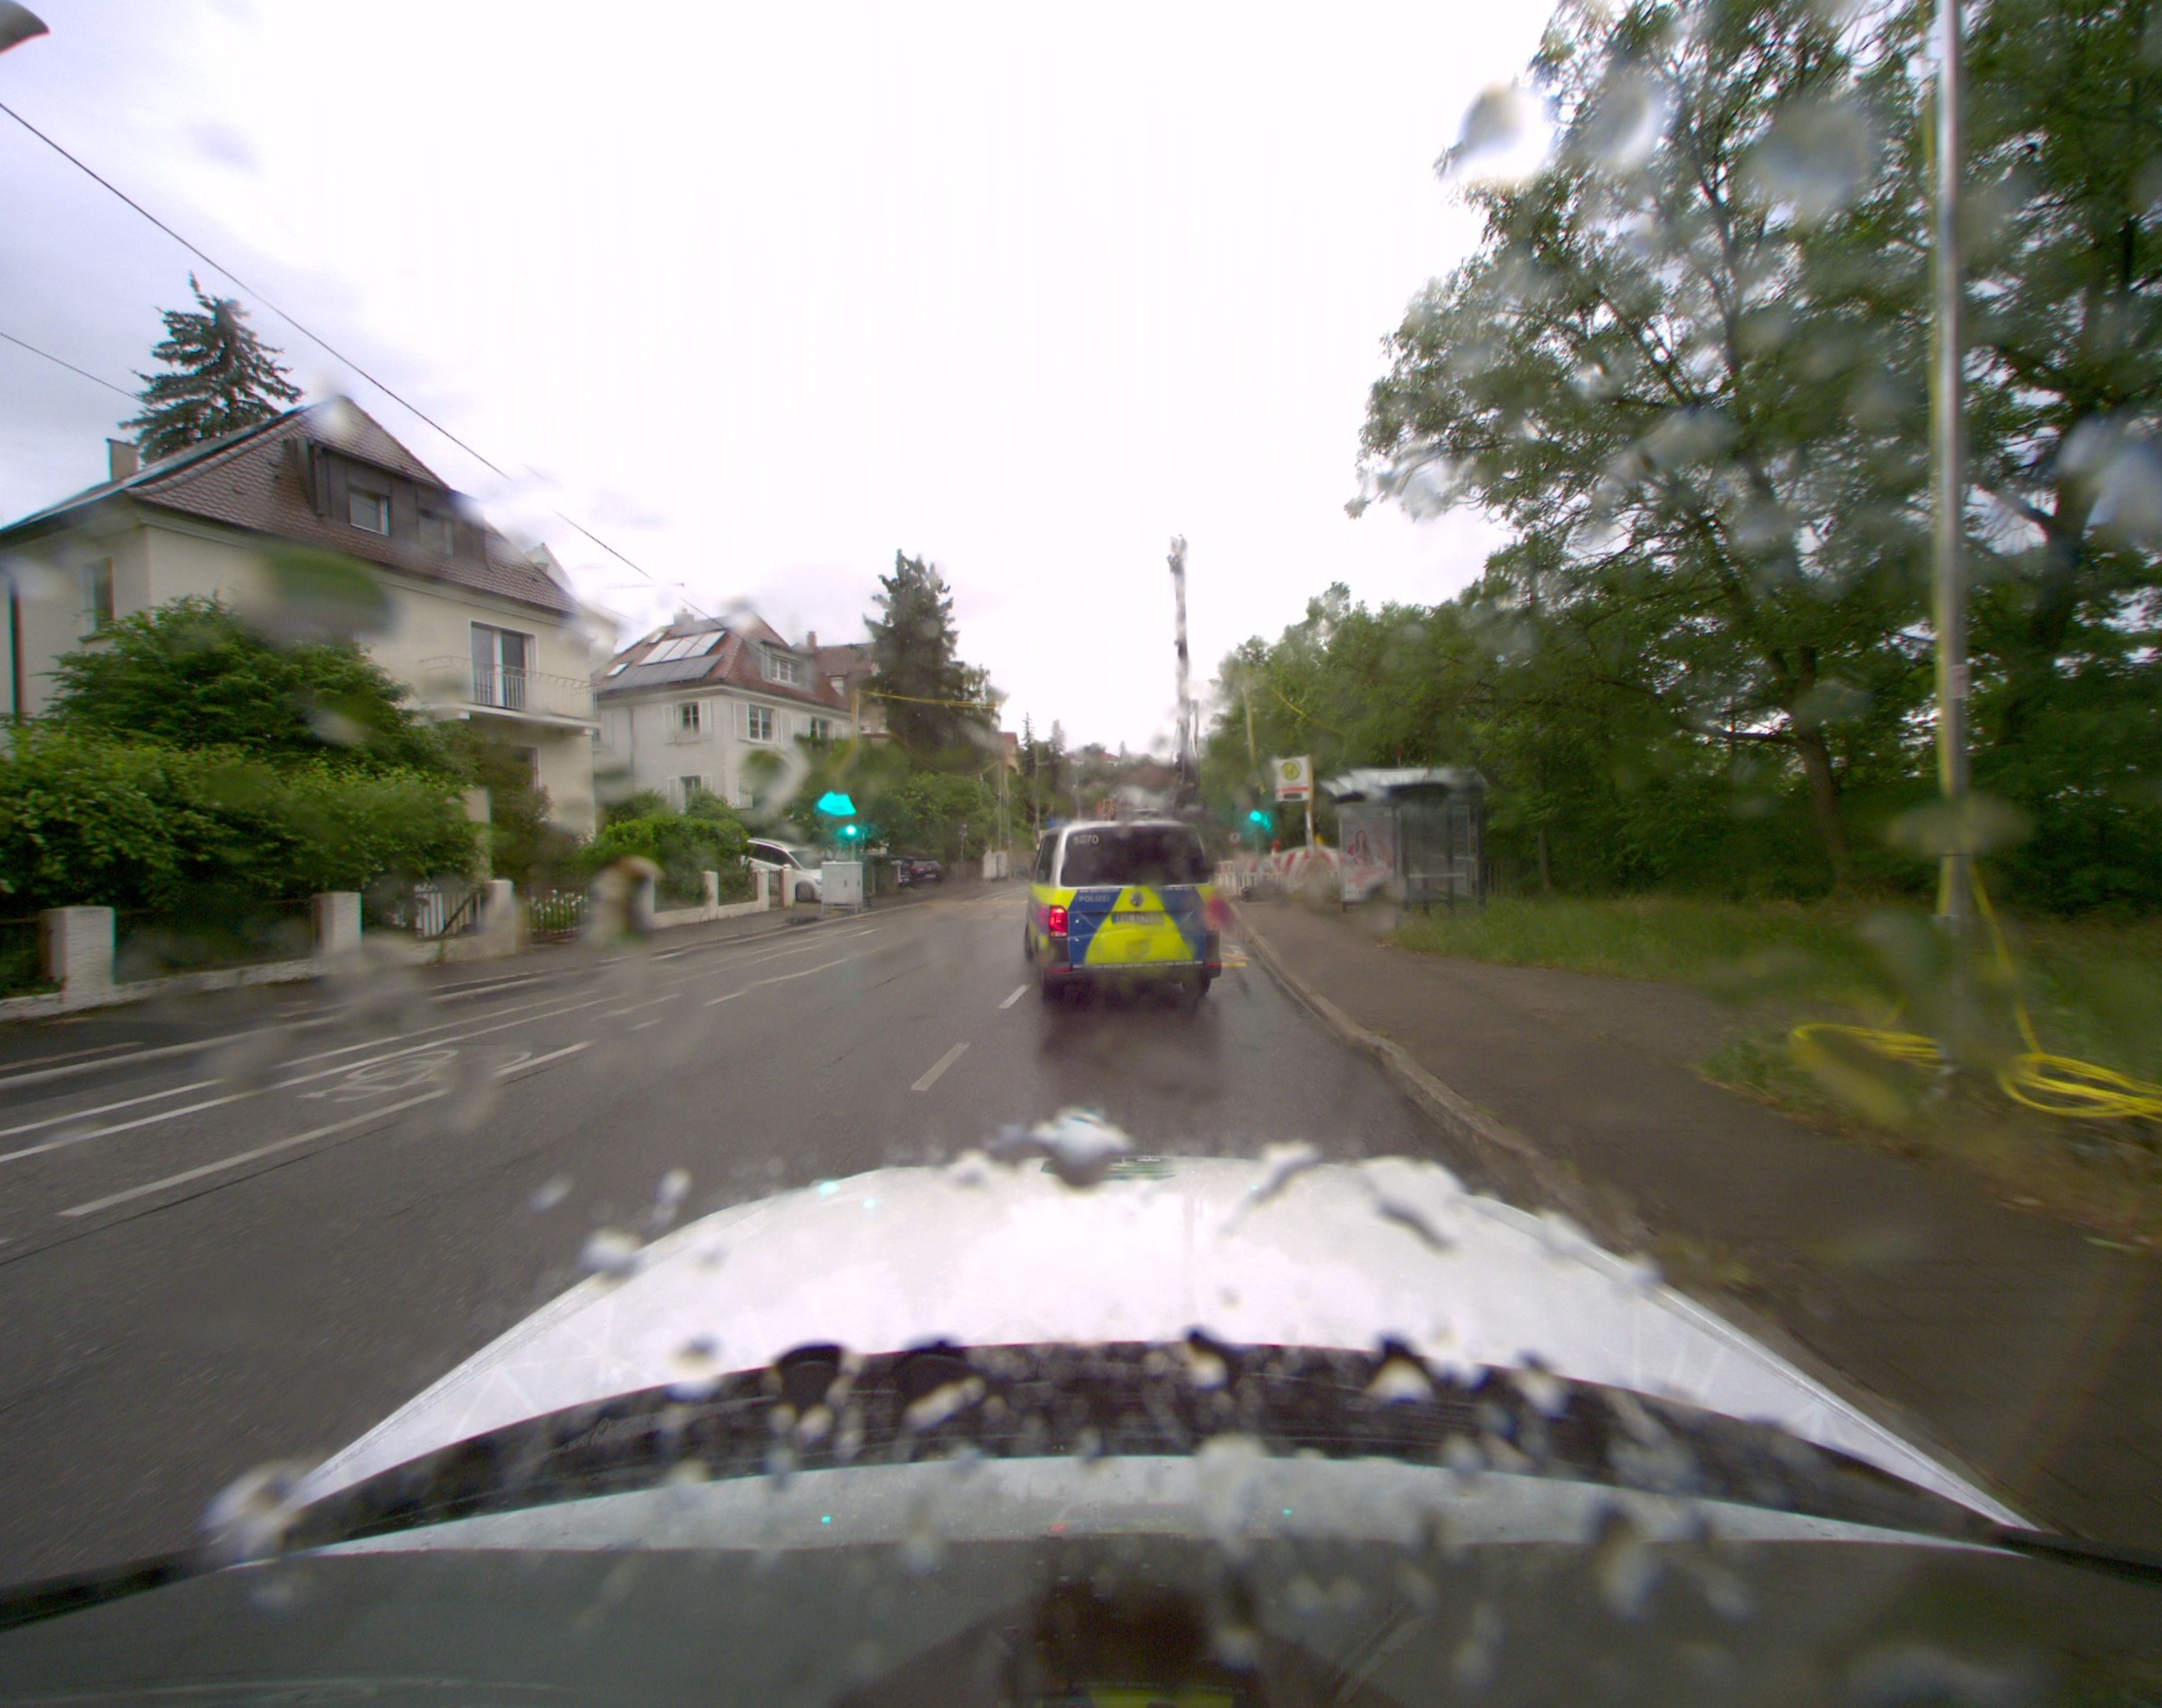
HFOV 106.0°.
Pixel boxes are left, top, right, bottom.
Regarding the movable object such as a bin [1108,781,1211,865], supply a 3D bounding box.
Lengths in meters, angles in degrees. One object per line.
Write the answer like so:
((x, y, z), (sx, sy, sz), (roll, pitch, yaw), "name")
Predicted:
((5.353, -1.921, 54.381), (3.646, 5.066, 7.209), (-3, -1, 34), "movable object such as a bin")

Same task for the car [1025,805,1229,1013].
((0.310, 0.554, 10.196), (1.905, 2.010, 4.430), (0, -1, -6), "car")

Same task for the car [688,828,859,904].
((-10.048, 0.346, 26.647), (4.927, 1.616, 1.872), (9, 4, 16), "car")

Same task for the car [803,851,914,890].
((-9.173, 0.690, 33.699), (3.957, 1.525, 1.949), (-1, -1, 15), "car")

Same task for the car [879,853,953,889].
((-7.505, 0.731, 36.754), (1.795, 1.525, 3.956), (0, -1, -37), "car")

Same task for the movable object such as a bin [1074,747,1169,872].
((1.635, -1.548, 30.242), (2.862, 4.170, 4.499), (-2, 0, 9), "movable object such as a bin")
